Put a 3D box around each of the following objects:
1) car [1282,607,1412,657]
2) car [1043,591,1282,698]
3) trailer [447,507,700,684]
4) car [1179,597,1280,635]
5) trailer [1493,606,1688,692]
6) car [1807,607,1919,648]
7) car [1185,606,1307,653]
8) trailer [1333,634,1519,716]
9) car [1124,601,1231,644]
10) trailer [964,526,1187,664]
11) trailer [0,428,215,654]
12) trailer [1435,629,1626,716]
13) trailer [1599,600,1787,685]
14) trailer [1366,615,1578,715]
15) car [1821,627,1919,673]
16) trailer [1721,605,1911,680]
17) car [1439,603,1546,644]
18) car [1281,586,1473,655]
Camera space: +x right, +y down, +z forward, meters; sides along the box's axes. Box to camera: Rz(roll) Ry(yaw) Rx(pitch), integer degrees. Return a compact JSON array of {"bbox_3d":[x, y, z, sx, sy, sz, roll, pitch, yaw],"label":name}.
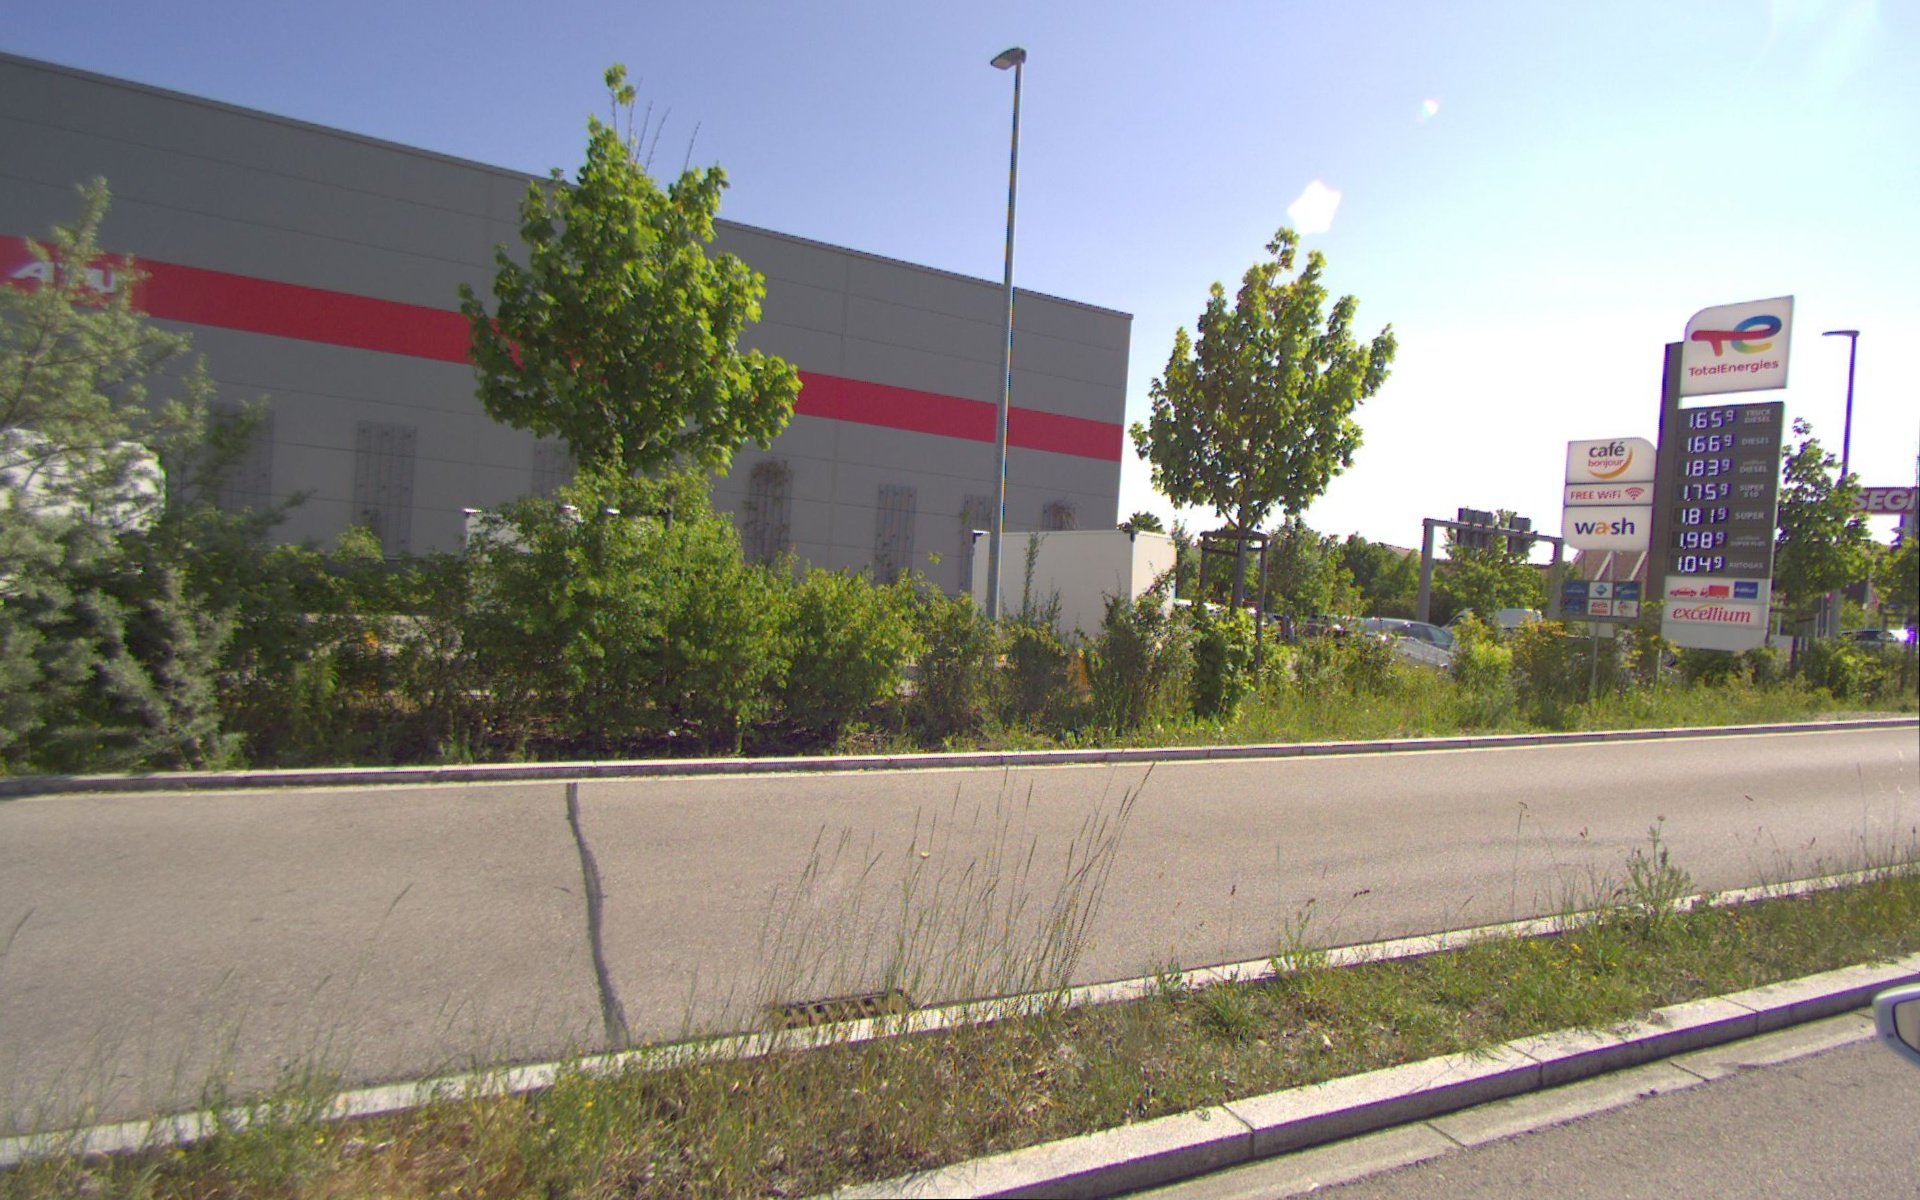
[{"bbox_3d":[12.655,1.046,32.817,3.950,1.483,1.812,2,-1,-28],"label":"car"},{"bbox_3d":[3.669,0.735,18.541,3.937,1.557,1.712,4,2,38],"label":"car"},{"bbox_3d":[-5.090,-0.117,13.184,2.695,2.040,1.991,4,2,40],"label":"trailer"},{"bbox_3d":[12.598,0.720,47.203,4.365,1.483,1.826,3,2,8],"label":"car"},{"bbox_3d":[14.710,1.086,23.594,3.634,1.471,1.703,7,4,33],"label":"trailer"},{"bbox_3d":[40.448,1.232,44.554,4.217,1.550,1.786,4,1,36],"label":"car"},{"bbox_3d":[10.358,1.072,36.380,3.943,1.483,1.815,3,2,-23],"label":"car"},{"bbox_3d":[8.203,1.272,17.740,2.731,1.100,1.316,4,2,37],"label":"trailer"},{"bbox_3d":[8.593,0.877,39.547,3.957,1.483,1.809,2,2,-33],"label":"car"},{"bbox_3d":[1.899,-0.137,16.830,3.187,2.041,1.742,4,2,36],"label":"trailer"},{"bbox_3d":[-9.717,-0.621,10.433,3.148,2.040,1.997,4,2,28],"label":"trailer"},{"bbox_3d":[11.064,1.355,19.602,1.377,1.340,2.879,2,2,-38],"label":"trailer"},{"bbox_3d":[18.377,1.006,25.415,3.634,1.795,1.802,4,2,33],"label":"trailer"},{"bbox_3d":[9.516,1.138,18.806,1.538,1.503,3.150,2,2,-43],"label":"trailer"},{"bbox_3d":[34.162,1.842,36.877,1.541,1.370,4.342,3,2,5],"label":"car"},{"bbox_3d":[22.926,1.080,27.100,3.634,1.795,1.802,2,1,33],"label":"trailer"},{"bbox_3d":[35.812,1.538,67.746,2.015,2.264,6.226,2,2,-29],"label":"car"},{"bbox_3d":[10.475,0.507,25.226,4.433,1.503,1.793,2,2,-23],"label":"car"}]
